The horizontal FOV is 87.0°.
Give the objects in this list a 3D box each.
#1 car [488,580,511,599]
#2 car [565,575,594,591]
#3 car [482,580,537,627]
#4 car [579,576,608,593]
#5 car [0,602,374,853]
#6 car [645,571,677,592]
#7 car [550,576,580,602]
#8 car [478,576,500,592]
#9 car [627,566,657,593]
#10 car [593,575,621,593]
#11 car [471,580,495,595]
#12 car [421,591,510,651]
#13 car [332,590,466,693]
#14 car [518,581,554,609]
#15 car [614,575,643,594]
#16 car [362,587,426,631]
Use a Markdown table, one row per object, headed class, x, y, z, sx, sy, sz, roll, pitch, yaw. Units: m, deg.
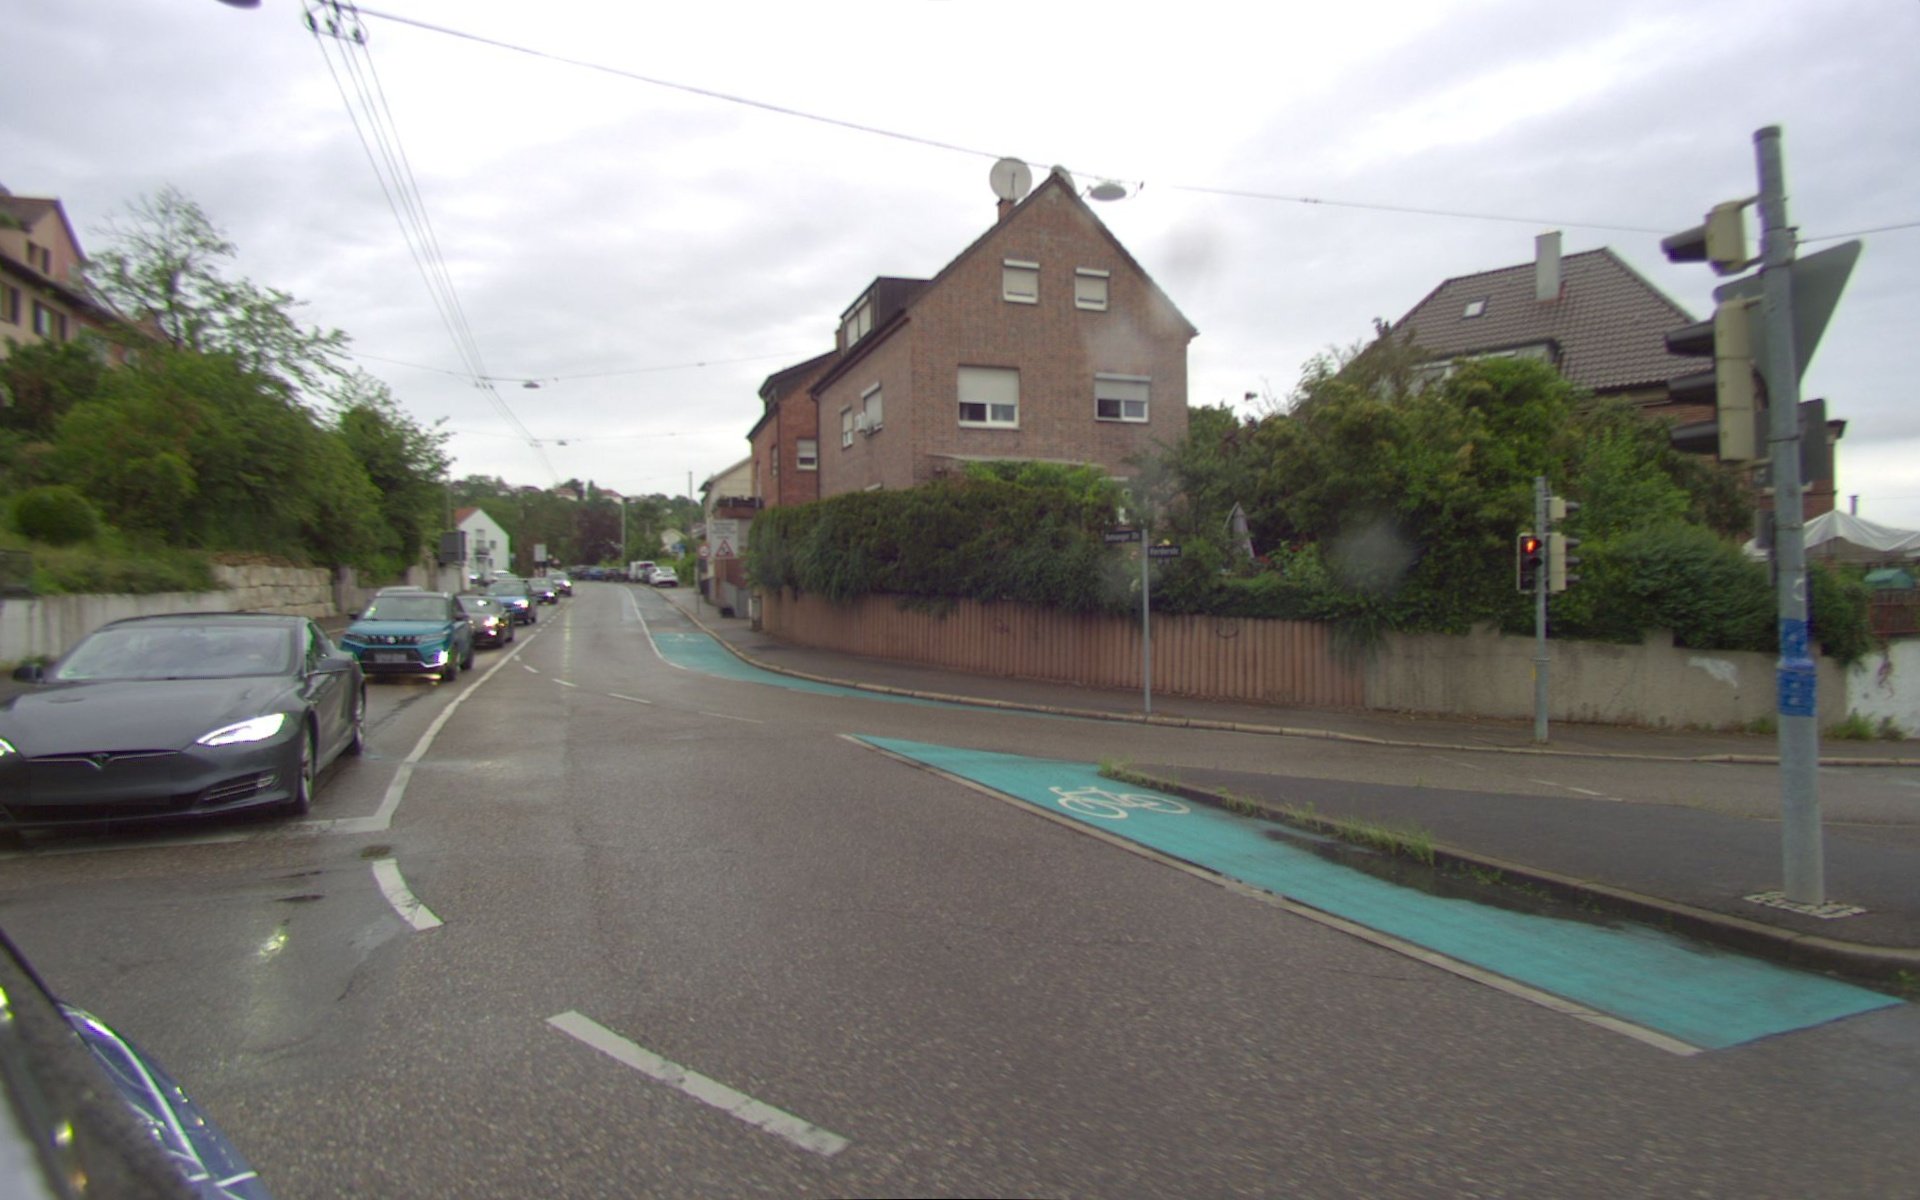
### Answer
| class | x | y | z | sx | sy | sz | roll | pitch | yaw |
| --- | --- | --- | --- | --- | --- | --- | --- | --- | --- |
| car | -35.487 | -0.848 | 78.017 | 1.588 | 1.410 | 3.377 | -1 | 2 | -24 |
| car | -42.656 | -1.901 | 113.304 | 1.745 | 1.772 | 4.332 | -1 | 1 | -39 |
| car | -16.683 | 0.136 | 37.603 | 1.729 | 1.662 | 4.055 | 1 | 0 | -23 |
| car | -39.675 | -1.675 | 109.434 | 1.744 | 1.772 | 4.334 | -1 | 1 | -36 |
| car | -5.964 | 0.738 | 7.972 | 1.805 | 1.402 | 4.338 | -1 | 0 | -23 |
| car | -24.352 | -1.457 | 82.331 | 1.917 | 1.622 | 4.465 | -1 | 0 | -23 |
| car | -27.122 | -0.759 | 69.479 | 1.729 | 1.662 | 4.055 | -3 | 1 | -23 |
| car | -42.939 | -1.493 | 92.256 | 1.588 | 1.410 | 3.376 | -1 | 2 | -29 |
| car | -29.975 | -1.910 | 95.220 | 1.978 | 2.475 | 4.465 | -1 | 0 | -26 |
| car | -36.662 | -1.617 | 104.985 | 1.744 | 1.772 | 4.336 | -1 | 1 | -34 |
| car | -45.819 | -1.187 | 97.111 | 1.589 | 1.410 | 3.375 | -2 | 2 | -34 |
| car | -13.157 | 0.534 | 27.126 | 1.729 | 1.471 | 4.054 | 1 | 0 | -20 |
| car | -10.093 | 0.659 | 18.466 | 1.771 | 1.622 | 4.055 | -1 | 0 | -24 |
| car | -23.485 | -0.269 | 56.100 | 1.729 | 1.471 | 4.055 | 1 | 0 | -23 |
| car | -32.840 | -1.550 | 100.091 | 1.743 | 1.772 | 4.337 | -1 | 0 | -32 |
| car | -20.698 | 0.292 | 37.117 | 1.526 | 1.462 | 3.377 | -1 | 2 | -20 |
